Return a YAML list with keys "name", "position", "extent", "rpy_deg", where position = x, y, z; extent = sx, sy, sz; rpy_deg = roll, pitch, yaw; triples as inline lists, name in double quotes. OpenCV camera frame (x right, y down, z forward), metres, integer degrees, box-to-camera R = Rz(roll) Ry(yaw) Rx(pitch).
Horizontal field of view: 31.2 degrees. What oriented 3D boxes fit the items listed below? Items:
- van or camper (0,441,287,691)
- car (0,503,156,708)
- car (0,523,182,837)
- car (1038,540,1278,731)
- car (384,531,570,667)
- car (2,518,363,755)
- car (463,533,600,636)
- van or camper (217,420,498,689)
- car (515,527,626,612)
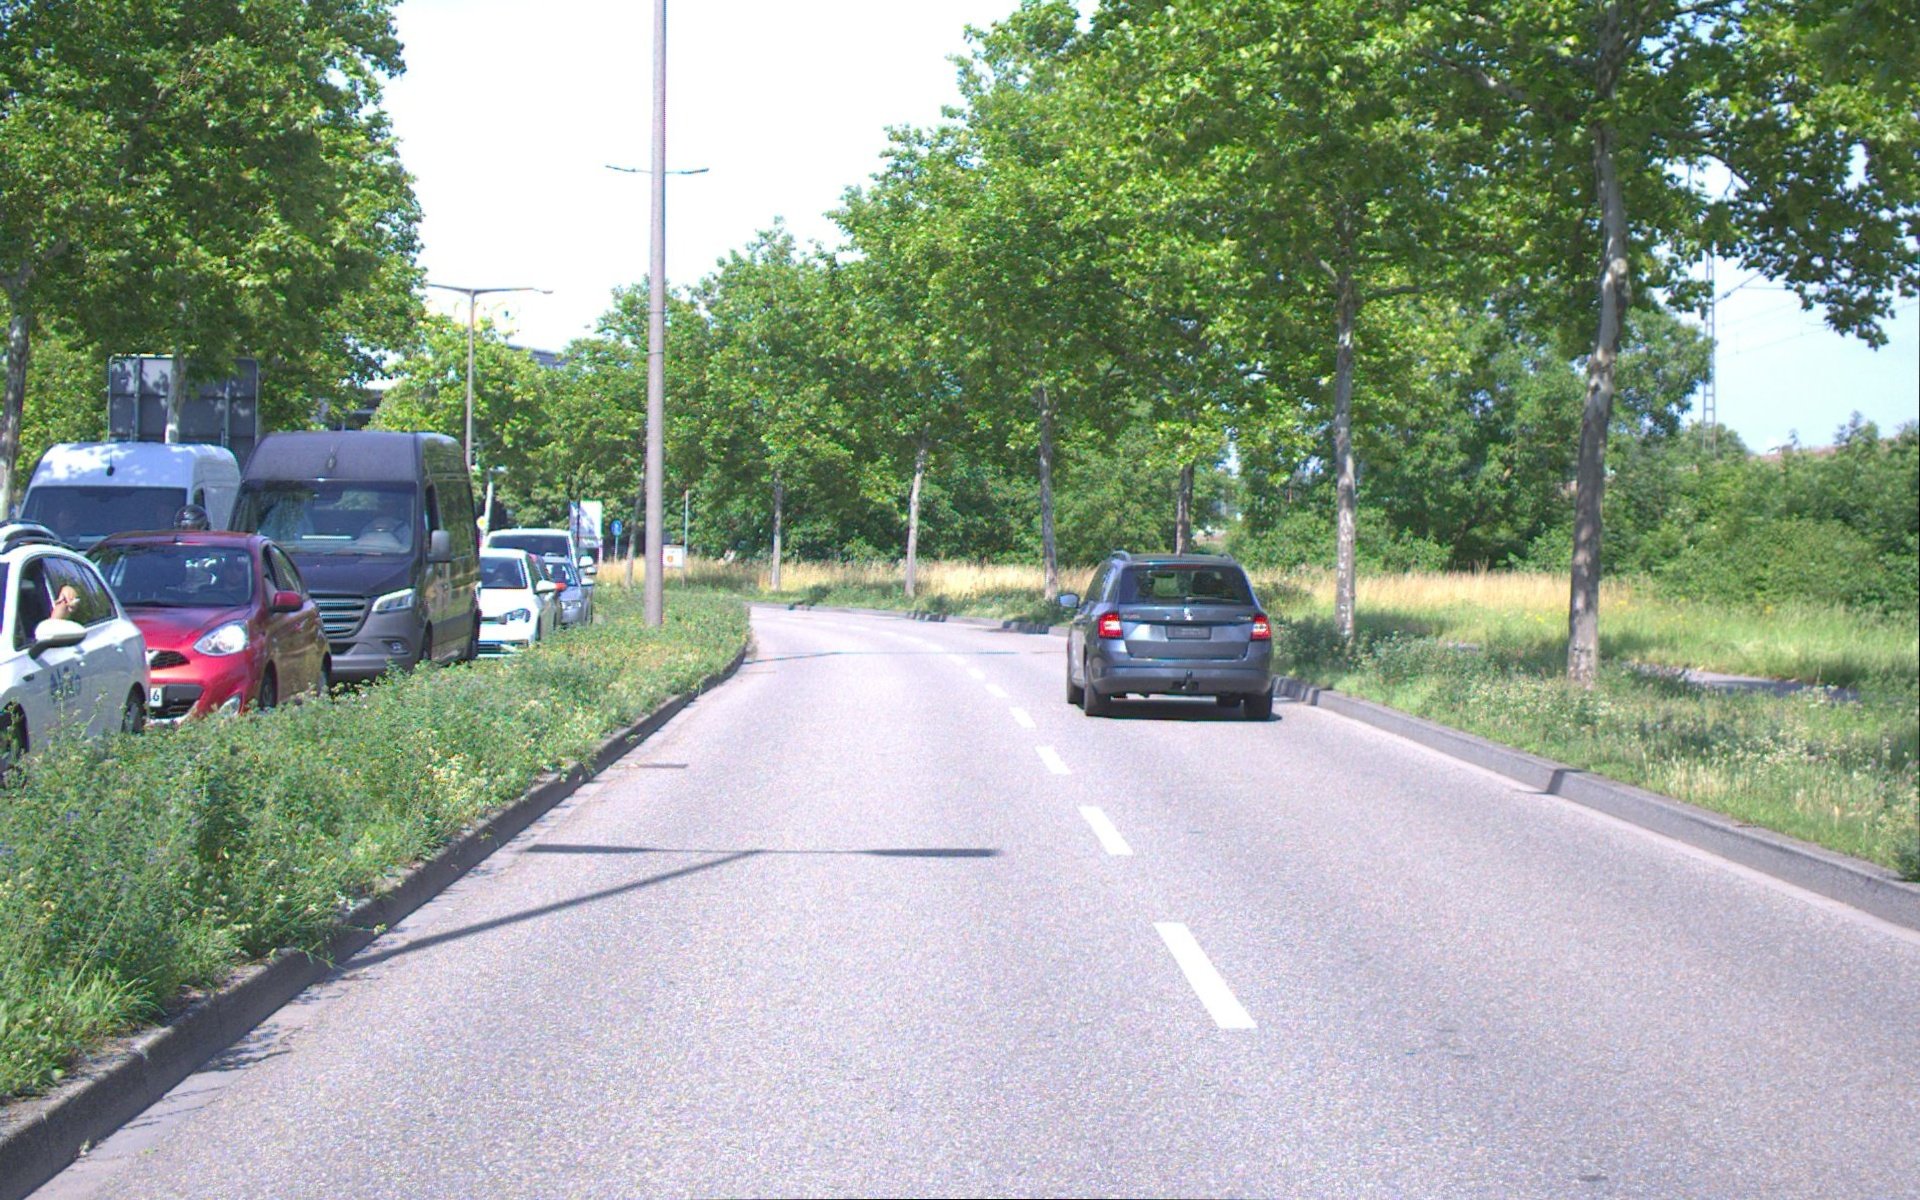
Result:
- name: "van or camper"
  position: [-9.080, -0.412, 38.564]
  extent: [2.015, 2.579, 5.517]
  rpy_deg: [1, 1, -1]
- name: "car"
  position: [-8.768, 0.006, 31.359]
  extent: [1.993, 1.750, 4.000]
  rpy_deg: [0, 1, -1]
- name: "car"
  position: [-5.377, 0.329, 17.641]
  extent: [1.783, 1.454, 4.472]
  rpy_deg: [1, 1, -1]
- name: "car"
  position: [1.742, 0.271, 31.439]
  extent: [1.674, 1.448, 4.037]
  rpy_deg: [4, 2, -3]
- name: "car"
  position: [-5.668, -0.023, 40.695]
  extent: [1.689, 1.525, 3.815]
  rpy_deg: [1, 0, -1]
- name: "car"
  position: [-5.339, 0.195, 24.049]
  extent: [1.689, 1.505, 3.815]
  rpy_deg: [1, 1, -1]
- name: "car"
  position: [-6.634, -0.238, 53.537]
  extent: [1.689, 1.525, 3.815]
  rpy_deg: [1, 0, -1]
- name: "van or camper"
  position: [-5.709, -0.421, 33.202]
  extent: [1.938, 2.360, 5.399]
  rpy_deg: [1, 0, -2]
- name: "car"
  position: [-7.296, -0.596, 64.703]
  extent: [1.689, 1.525, 3.815]
  rpy_deg: [1, 1, -1]
